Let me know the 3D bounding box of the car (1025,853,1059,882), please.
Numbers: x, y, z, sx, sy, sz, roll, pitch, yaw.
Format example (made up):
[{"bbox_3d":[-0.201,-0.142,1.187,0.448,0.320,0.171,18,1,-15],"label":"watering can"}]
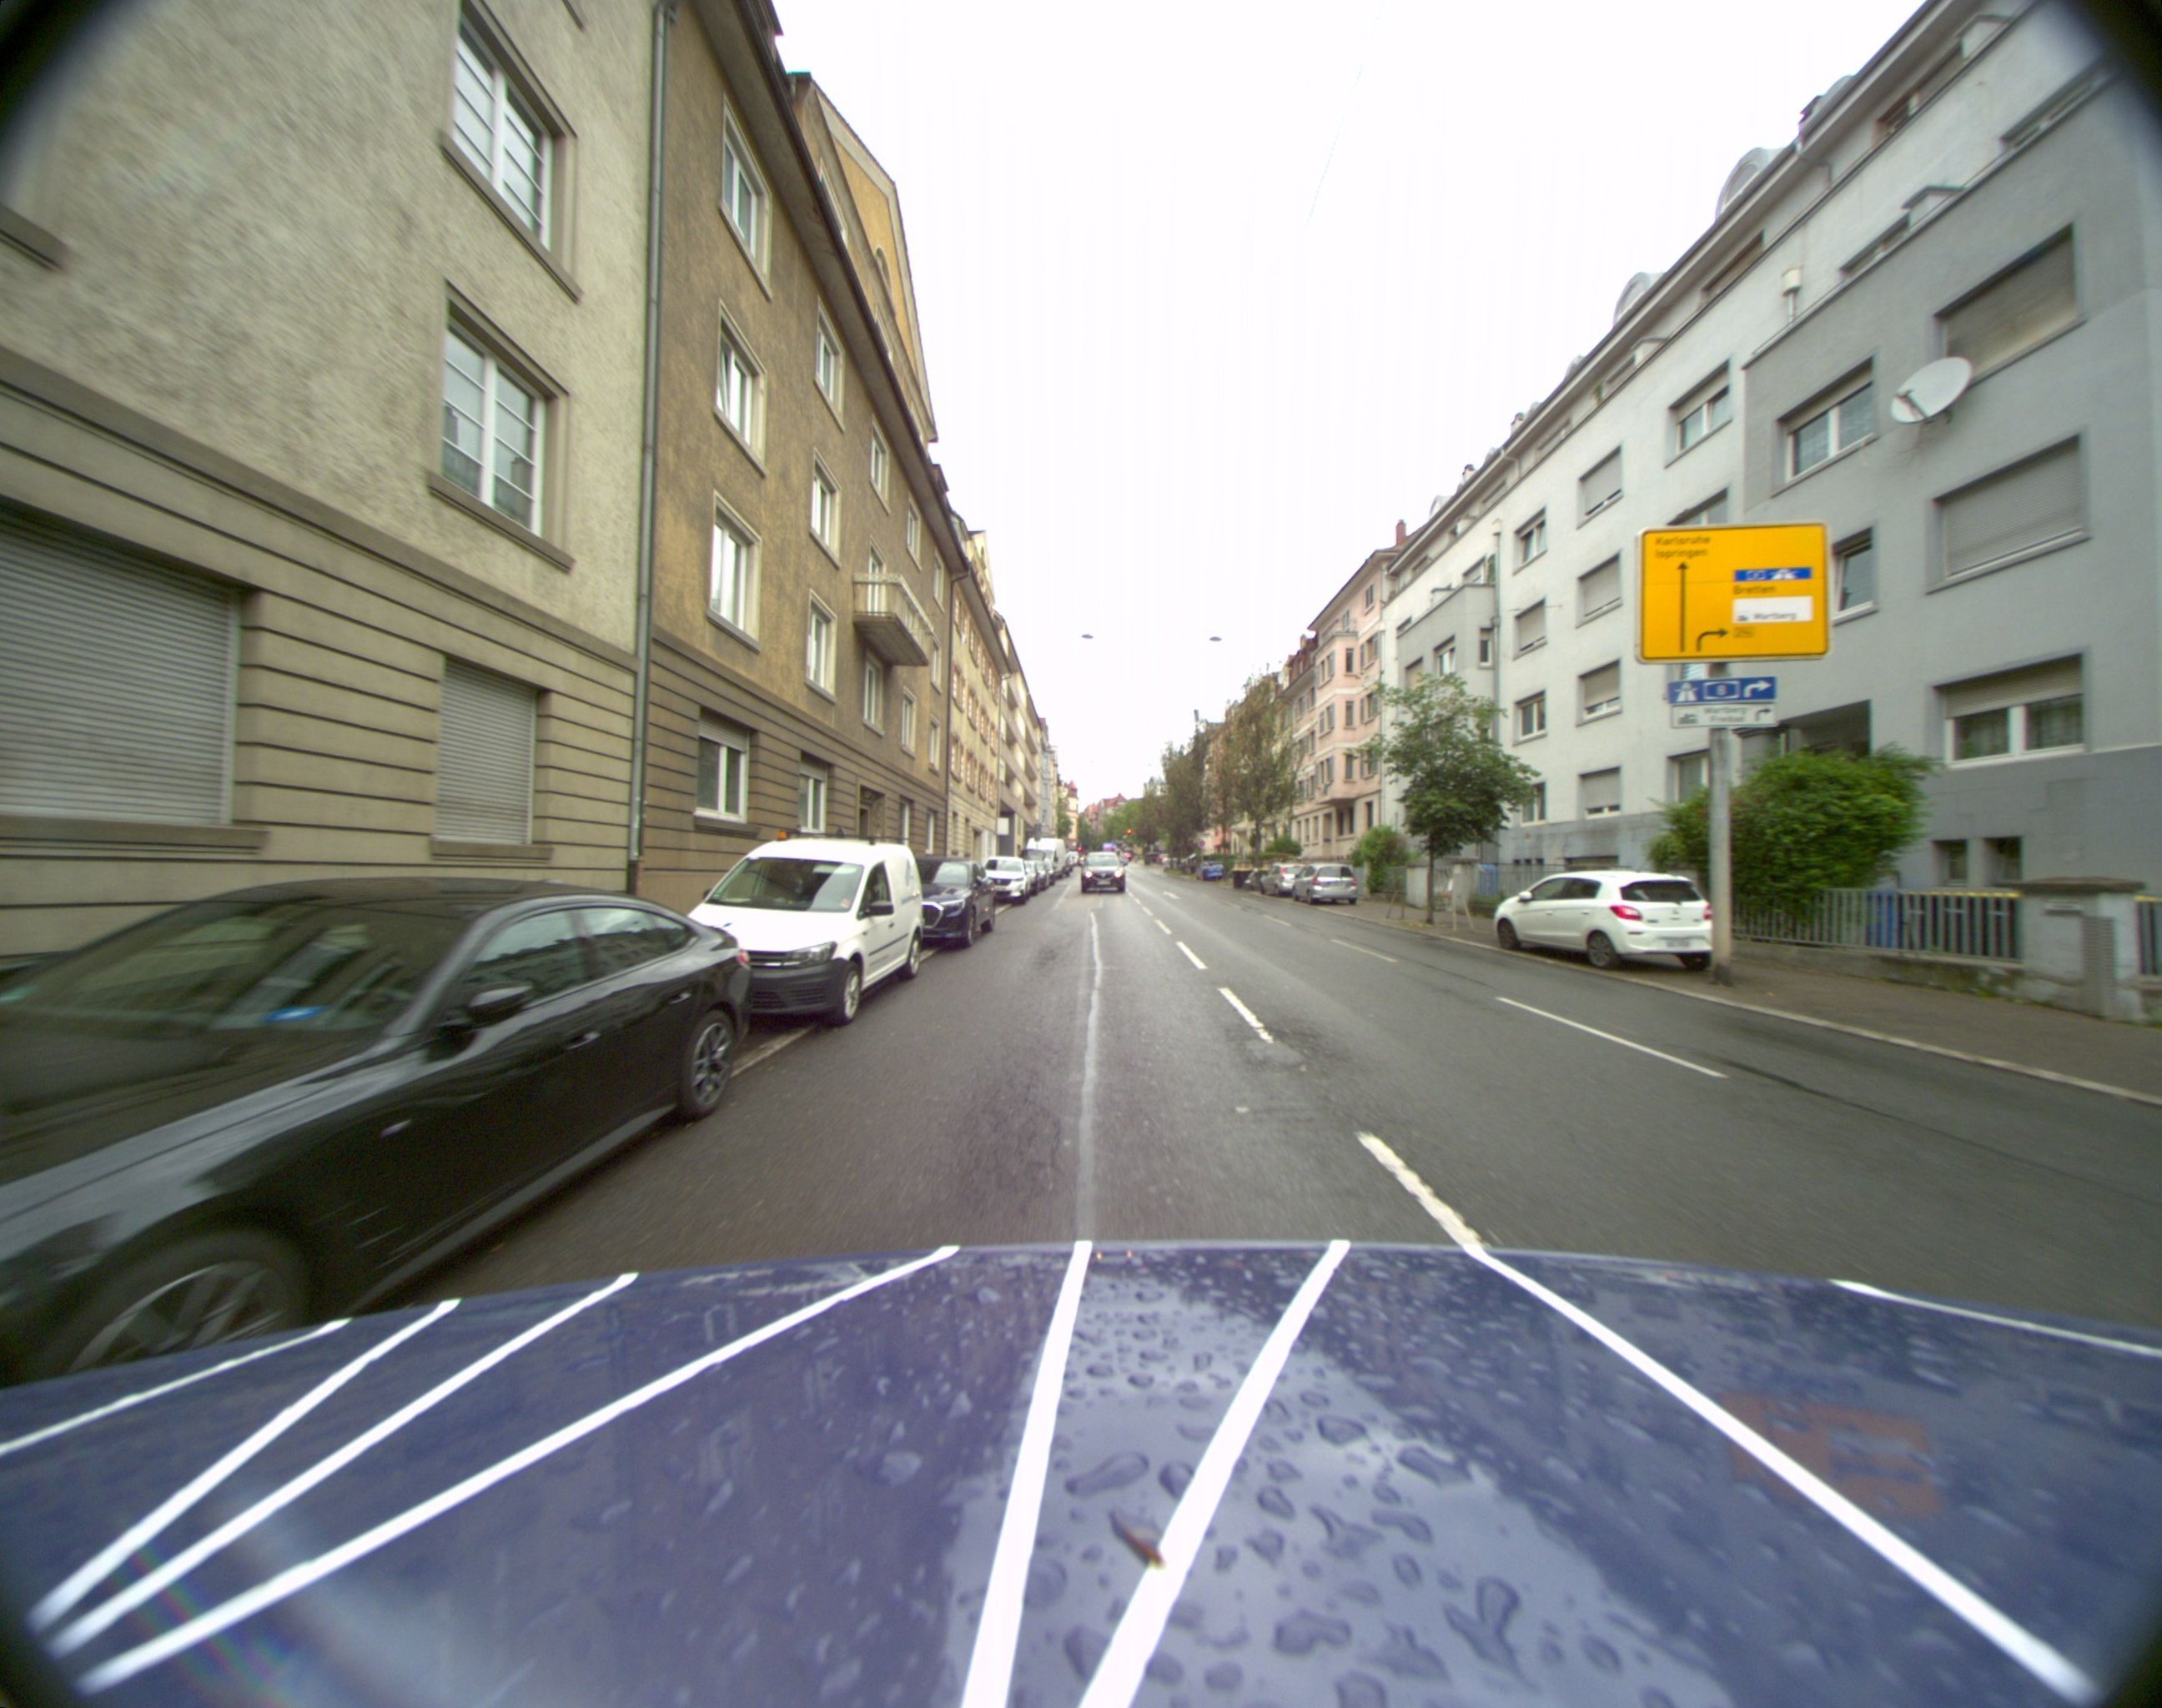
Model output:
[{"bbox_3d":[-2.125,0.721,42.341,1.782,1.471,4.188,1,1,-2],"label":"car"}]

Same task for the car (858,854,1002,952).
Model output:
[{"bbox_3d":[-2.703,0.805,14.597,1.795,1.539,4.225,2,0,1],"label":"car"}]

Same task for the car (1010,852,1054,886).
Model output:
[{"bbox_3d":[-2.316,0.677,36.867,1.782,1.471,4.587,1,1,1],"label":"car"}]

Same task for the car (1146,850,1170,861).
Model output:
[{"bbox_3d":[13.522,0.211,132.719,3.929,1.836,1.867,1,1,-1],"label":"car"}]

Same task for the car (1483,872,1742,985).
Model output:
[{"bbox_3d":[8.593,1.109,12.743,1.650,1.499,3.796,0,0,-1],"label":"car"}]

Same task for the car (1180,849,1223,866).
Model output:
[{"bbox_3d":[14.077,0.387,88.811,4.731,1.894,1.918,-1,2,-1],"label":"car"}]

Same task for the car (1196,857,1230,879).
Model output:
[{"bbox_3d":[9.408,0.964,54.328,1.683,1.378,4.602,1,1,1],"label":"car"}]

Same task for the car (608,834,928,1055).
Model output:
[{"bbox_3d":[-3.053,0.753,8.447,1.795,1.807,4.079,2,0,0],"label":"car"}]

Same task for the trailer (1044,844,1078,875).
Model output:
[{"bbox_3d":[-1.443,0.443,57.227,1.998,2.139,5.074,3,0,3],"label":"trailer"}]

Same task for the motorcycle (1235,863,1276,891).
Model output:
[{"bbox_3d":[8.703,1.139,37.905,1.806,1.307,0.743,1,1,42],"label":"motorcycle"}]

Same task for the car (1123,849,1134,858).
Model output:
[{"bbox_3d":[8.912,-0.155,142.986,1.772,1.540,3.652,-1,1,1],"label":"car"}]

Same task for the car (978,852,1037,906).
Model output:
[{"bbox_3d":[-2.501,0.798,26.708,1.636,1.629,4.194,3,1,-1],"label":"car"}]

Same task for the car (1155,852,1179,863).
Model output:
[{"bbox_3d":[14.747,0.598,129.849,3.928,1.613,1.592,1,1,1],"label":"car"}]

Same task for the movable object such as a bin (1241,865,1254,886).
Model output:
[{"bbox_3d":[8.840,1.151,40.378,0.472,1.052,0.483,-3,2,-8],"label":"movable object such as a bin"}]

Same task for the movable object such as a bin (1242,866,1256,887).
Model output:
[{"bbox_3d":[8.759,1.156,39.666,0.526,1.052,0.482,-3,2,-21],"label":"movable object such as a bin"}]

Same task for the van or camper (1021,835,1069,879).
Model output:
[{"bbox_3d":[-2.263,0.160,50.290,2.189,2.684,6.422,1,0,6],"label":"van or camper"}]

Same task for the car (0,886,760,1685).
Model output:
[{"bbox_3d":[-3.151,0.980,3.034,1.845,1.401,4.387,3,1,0],"label":"car"}]

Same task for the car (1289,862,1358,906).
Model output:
[{"bbox_3d":[9.014,1.085,28.501,1.604,1.443,3.888,-1,0,5],"label":"car"}]

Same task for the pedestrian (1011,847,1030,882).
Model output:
[{"bbox_3d":[-3.164,0.551,39.620,0.688,1.777,0.711,1,2,-31],"label":"pedestrian"}]

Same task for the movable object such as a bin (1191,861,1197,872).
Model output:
[{"bbox_3d":[9.969,1.097,67.007,0.365,0.906,0.572,-1,2,0],"label":"movable object such as a bin"}]

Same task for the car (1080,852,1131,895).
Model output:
[{"bbox_3d":[0.950,0.744,31.927,1.890,1.543,3.999,-2,1,-1],"label":"car"}]

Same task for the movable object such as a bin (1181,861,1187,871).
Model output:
[{"bbox_3d":[9.079,1.080,67.016,0.365,0.884,0.572,-1,1,0],"label":"movable object such as a bin"}]

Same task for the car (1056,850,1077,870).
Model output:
[{"bbox_3d":[-1.498,0.615,81.550,1.994,1.944,4.822,1,1,1],"label":"car"}]

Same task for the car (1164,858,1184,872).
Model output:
[{"bbox_3d":[10.116,1.184,82.986,1.685,1.409,4.137,1,1,1],"label":"car"}]

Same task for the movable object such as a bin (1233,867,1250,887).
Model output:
[{"bbox_3d":[8.658,1.235,40.972,0.827,1.052,0.483,-2,2,2],"label":"movable object such as a bin"}]

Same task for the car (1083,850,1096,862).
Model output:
[{"bbox_3d":[1.155,0.265,101.927,1.669,1.464,3.652,-1,1,0],"label":"car"}]

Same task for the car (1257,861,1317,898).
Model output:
[{"bbox_3d":[8.974,1.067,33.401,1.605,1.388,3.886,0,1,0],"label":"car"}]

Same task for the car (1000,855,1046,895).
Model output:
[{"bbox_3d":[-2.423,0.832,32.320,1.636,1.470,3.734,4,1,-1],"label":"car"}]

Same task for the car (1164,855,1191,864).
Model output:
[{"bbox_3d":[15.204,0.812,119.820,3.928,1.289,1.646,1,1,1],"label":"car"}]

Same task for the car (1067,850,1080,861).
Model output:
[{"bbox_3d":[-0.993,0.207,101.646,1.709,1.434,3.932,1,1,1],"label":"car"}]
